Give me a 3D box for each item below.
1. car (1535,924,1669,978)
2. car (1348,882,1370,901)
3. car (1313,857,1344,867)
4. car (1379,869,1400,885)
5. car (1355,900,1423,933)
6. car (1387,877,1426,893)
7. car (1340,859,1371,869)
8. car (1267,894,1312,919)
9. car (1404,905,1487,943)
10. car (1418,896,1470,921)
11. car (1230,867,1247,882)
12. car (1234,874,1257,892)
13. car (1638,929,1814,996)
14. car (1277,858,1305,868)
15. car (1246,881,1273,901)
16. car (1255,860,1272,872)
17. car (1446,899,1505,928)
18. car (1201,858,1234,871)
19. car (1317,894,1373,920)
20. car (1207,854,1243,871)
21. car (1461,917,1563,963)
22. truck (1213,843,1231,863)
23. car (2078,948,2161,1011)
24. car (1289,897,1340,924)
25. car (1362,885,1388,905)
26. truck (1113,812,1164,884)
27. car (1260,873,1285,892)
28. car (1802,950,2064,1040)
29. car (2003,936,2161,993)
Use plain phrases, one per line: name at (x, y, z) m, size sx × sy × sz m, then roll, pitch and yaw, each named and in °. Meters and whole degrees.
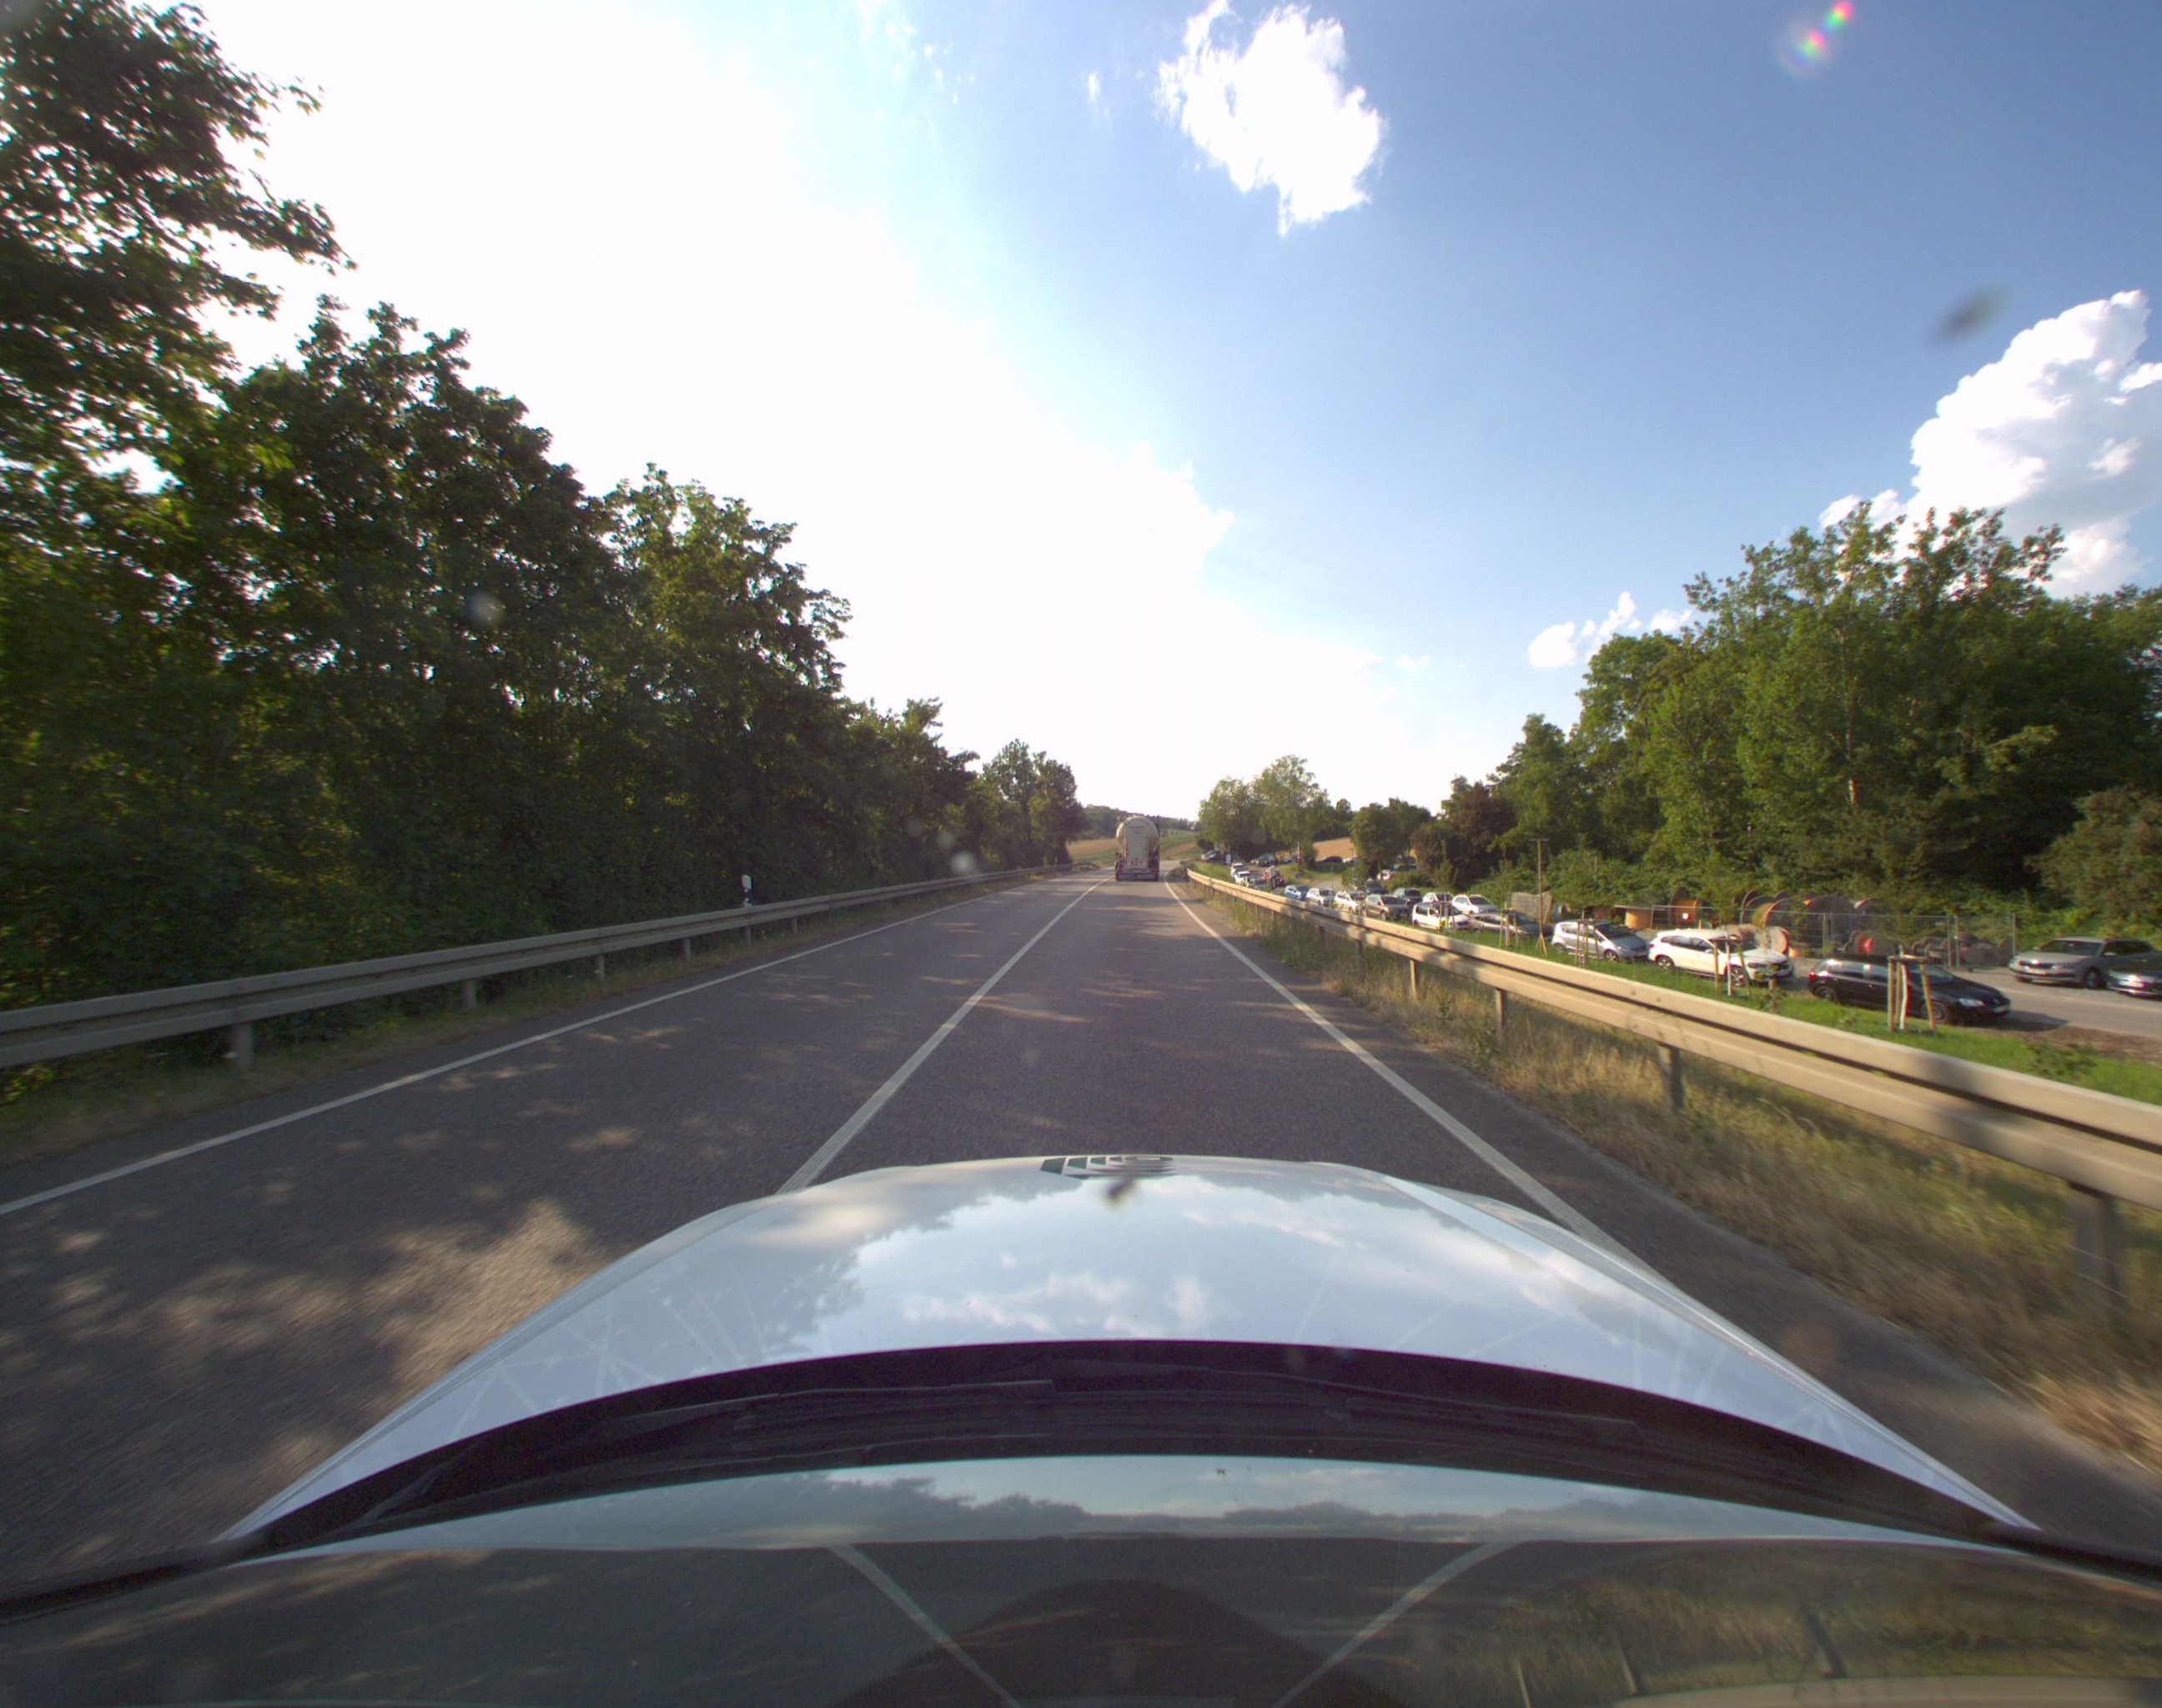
car at (21.865, 4.016, 34.447) m, size 1.894 × 1.559 × 4.761 m, roll -4°, pitch 1°, yaw -13°
car at (26.703, 3.543, 78.272) m, size 1.688 × 1.398 × 4.117 m, roll -4°, pitch 1°, yaw 15°
car at (39.167, 1.317, 129.016) m, size 4.651 × 1.507 × 1.983 m, roll 0°, pitch 0°, yaw -26°
car at (39.100, 2.915, 103.199) m, size 1.780 × 1.842 × 4.625 m, roll -1°, pitch 0°, yaw 30°
car at (19.752, 3.965, 52.478) m, size 1.892 × 1.559 × 4.766 m, roll -4°, pitch 1°, yaw -10°
car at (34.379, 3.282, 86.068) m, size 3.735 × 1.543 × 1.661 m, roll -1°, pitch 0°, yaw 16°
car at (44.215, 1.620, 131.305) m, size 4.651 × 1.507 × 1.983 m, roll 0°, pitch 0°, yaw -26°
car at (17.634, 4.428, 69.136) m, size 1.892 × 1.559 × 4.766 m, roll -4°, pitch 1°, yaw -10°
car at (20.623, 3.925, 46.305) m, size 1.892 × 1.559 × 4.766 m, roll -4°, pitch 1°, yaw -10°
car at (25.269, 3.765, 56.841) m, size 1.696 × 1.398 × 3.943 m, roll -4°, pitch 0°, yaw -1°
car at (20.013, 2.594, 103.165) m, size 1.879 × 1.559 × 4.799 m, roll -4°, pitch 1°, yaw 12°
car at (18.511, 3.267, 91.883) m, size 1.883 × 1.559 × 4.790 m, roll -4°, pitch 1°, yaw 5°
car at (22.788, 3.761, 29.057) m, size 1.894 × 1.559 × 4.761 m, roll -4°, pitch 1°, yaw -13°
car at (32.502, 1.446, 125.982) m, size 3.725 × 1.441 × 1.802 m, roll 1°, pitch 0°, yaw -16°
car at (17.731, 3.671, 80.944) m, size 1.883 × 1.559 × 4.790 m, roll -4°, pitch 1°, yaw 5°
car at (25.760, 1.692, 114.916) m, size 1.881 × 1.675 × 4.792 m, roll 0°, pitch -1°, yaw 8°
car at (25.418, 3.808, 52.608) m, size 1.697 × 1.510 × 3.940 m, roll -1°, pitch 0°, yaw -3°
car at (19.246, 1.466, 114.695) m, size 4.326 × 1.509 × 1.709 m, roll 3°, pitch 0°, yaw -21°
car at (19.258, 3.840, 59.567) m, size 1.892 × 1.559 × 4.766 m, roll -1°, pitch 1°, yaw -10°
car at (21.391, 1.258, 120.990) m, size 5.110 × 1.943 × 1.980 m, roll 5°, pitch 1°, yaw 9°
car at (21.228, 4.177, 40.335) m, size 1.892 × 1.559 × 4.766 m, roll -4°, pitch 1°, yaw -10°
truck at (31.907, -0.222, 184.378) m, size 3.161 × 4.227 × 13.219 m, roll -1°, pitch 0°, yaw 13°
car at (32.178, 3.606, 23.615) m, size 4.217 × 1.489 × 1.834 m, roll 0°, pitch 2°, yaw 1°
car at (18.415, 4.415, 64.373) m, size 1.892 × 1.559 × 4.766 m, roll -4°, pitch 1°, yaw -10°
car at (26.035, 3.629, 72.147) m, size 1.688 × 1.398 × 4.804 m, roll -4°, pitch 0°, yaw 15°
truck at (3.547, -0.318, 53.551) m, size 2.882 × 4.142 × 13.177 m, roll 0°, pitch 0°, yaw 2°
car at (21.258, 3.099, 90.573) m, size 1.883 × 1.686 × 5.094 m, roll -4°, pitch 1°, yaw 5°
car at (23.584, 3.815, 22.860) m, size 1.894 × 1.482 × 4.761 m, roll -4°, pitch 1°, yaw -13°
car at (32.641, 3.532, 26.450) m, size 4.238 × 1.490 × 1.825 m, roll 0°, pitch -1°, yaw -14°
